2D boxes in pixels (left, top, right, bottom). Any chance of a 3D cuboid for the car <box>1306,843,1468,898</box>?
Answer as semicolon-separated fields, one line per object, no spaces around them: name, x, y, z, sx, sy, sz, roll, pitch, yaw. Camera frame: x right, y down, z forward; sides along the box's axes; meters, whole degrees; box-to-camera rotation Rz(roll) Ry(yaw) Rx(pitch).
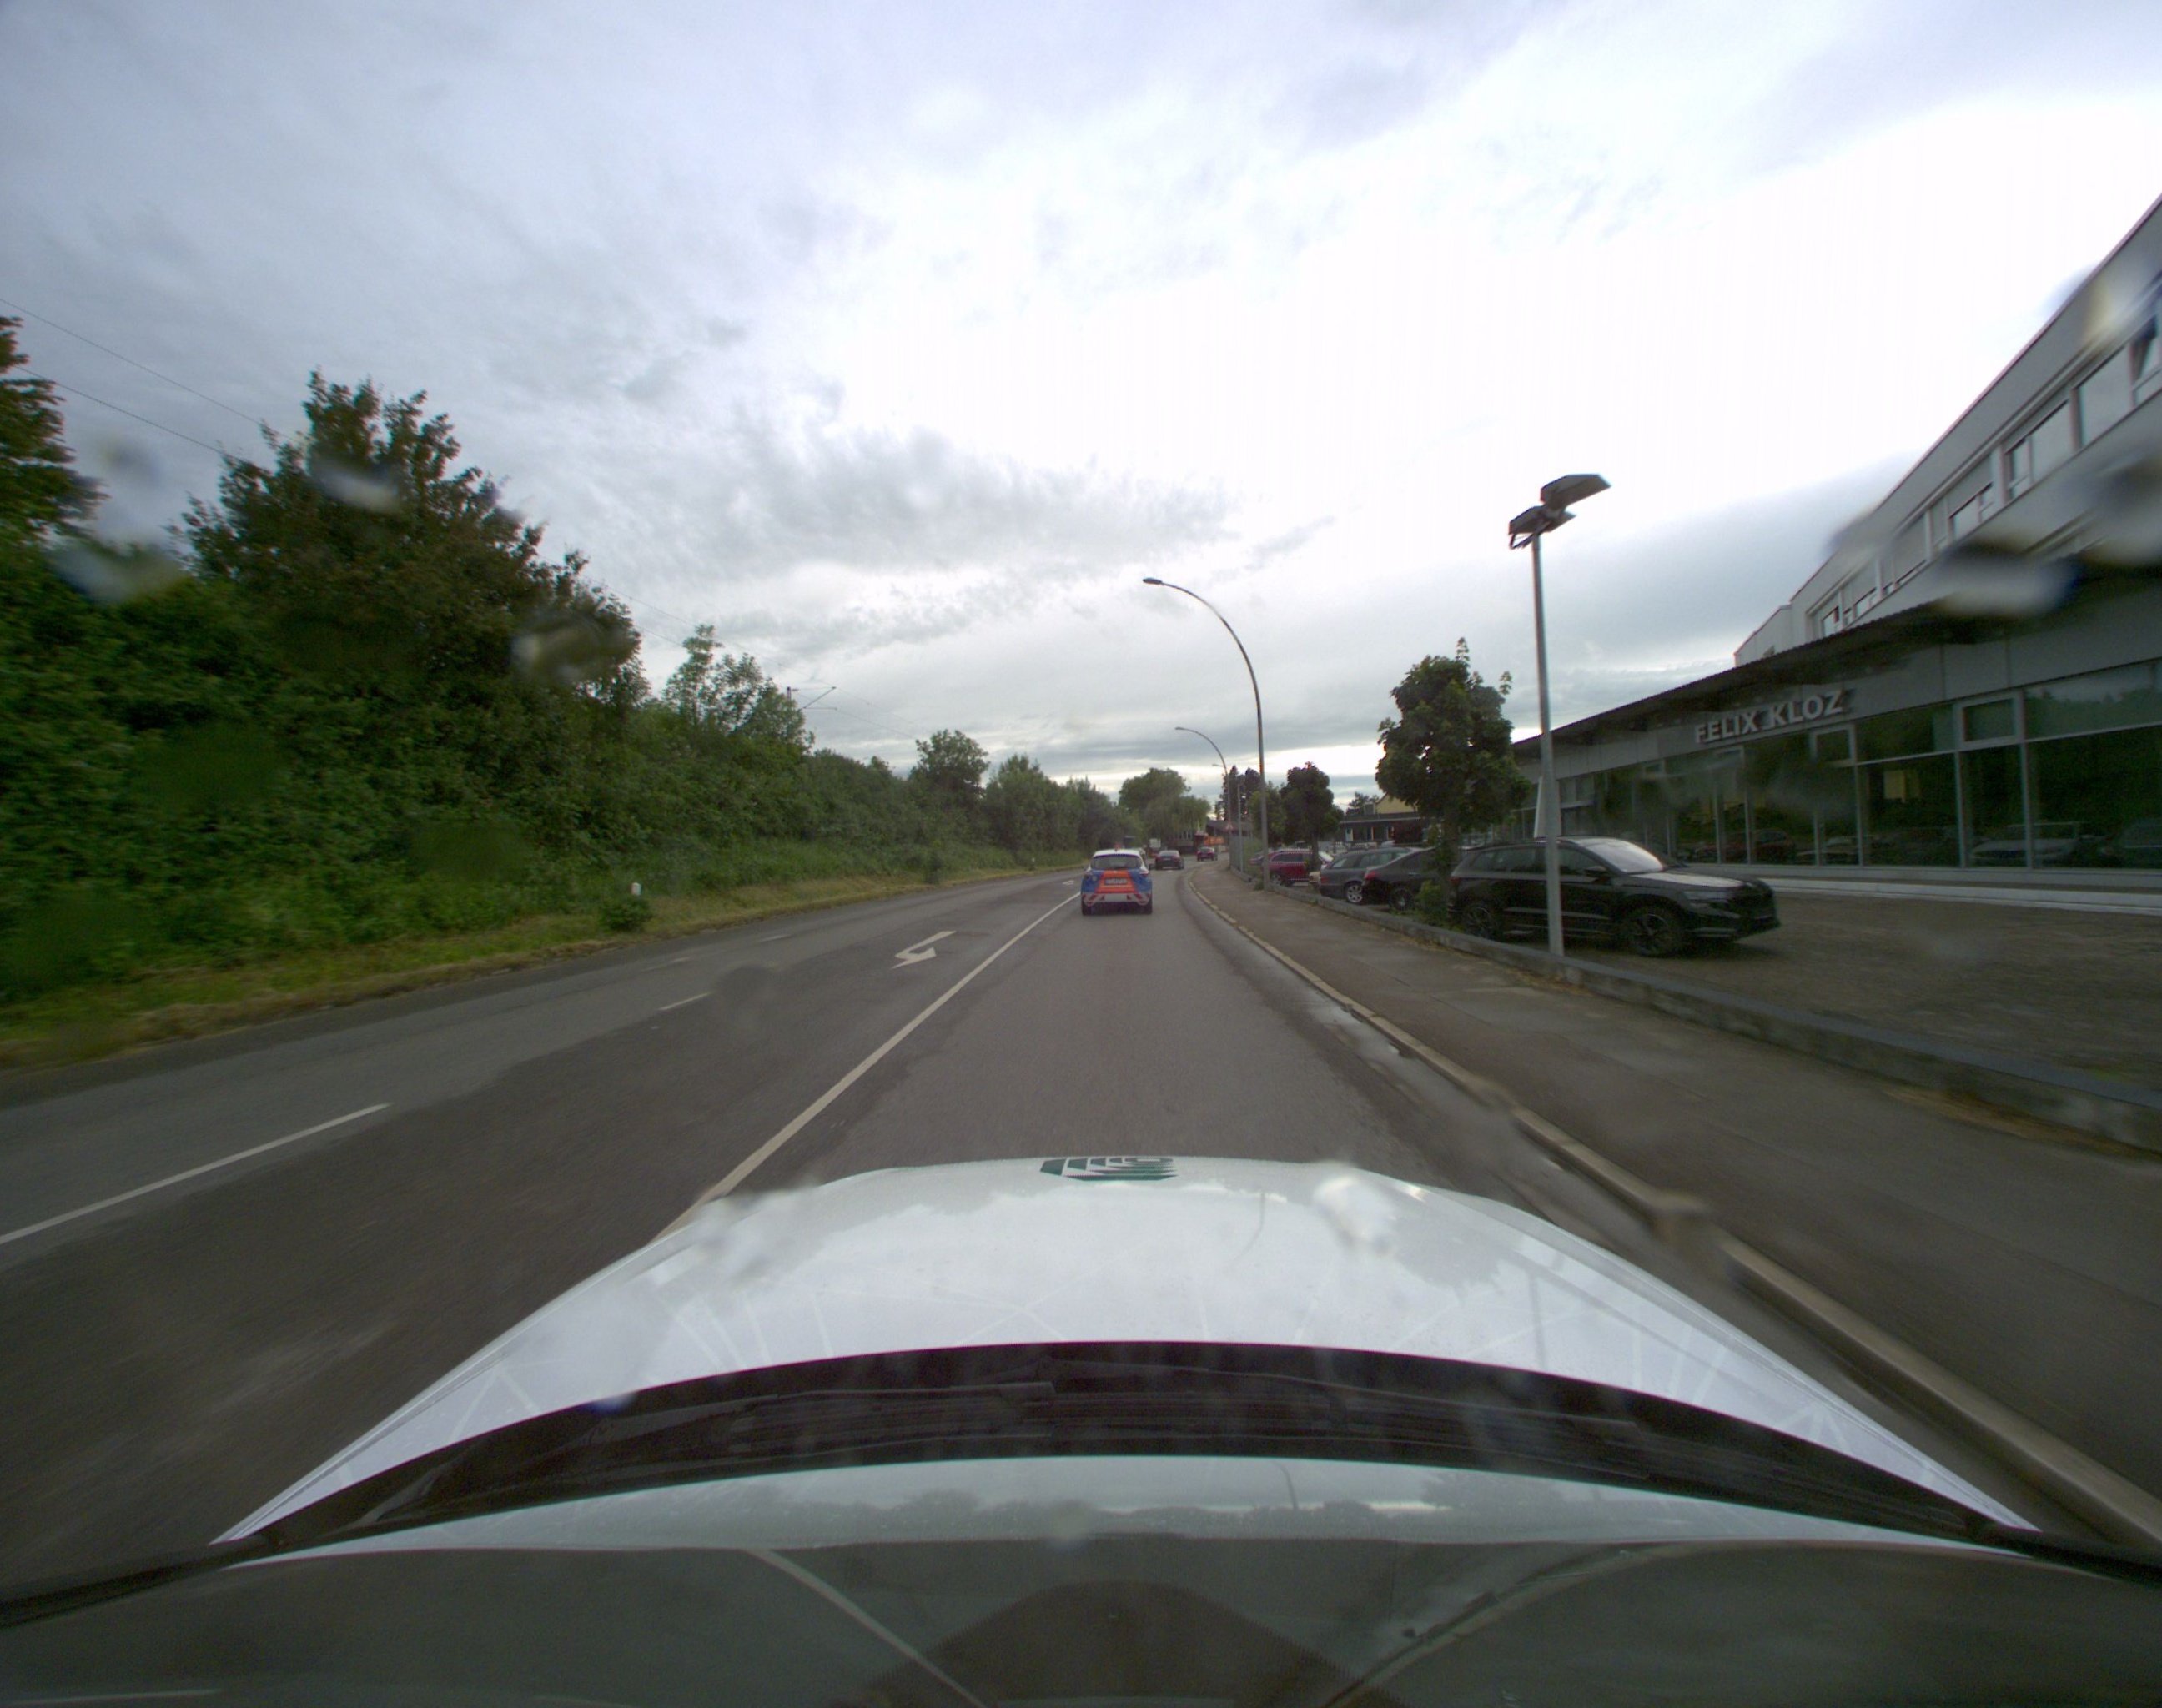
car;9.076;0.519;24.295;4.120;1.467;1.849;-3;-1;38

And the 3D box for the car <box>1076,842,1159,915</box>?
car;0.923;0.558;20.884;1.881;1.632;4.002;-2;0;2

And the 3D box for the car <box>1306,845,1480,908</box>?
car;8.326;0.560;21.873;3.949;1.556;1.910;0;-1;41

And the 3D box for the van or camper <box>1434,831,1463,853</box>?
van or camper;35.484;-1.103;78.602;1.974;1.938;5.464;0;-1;31

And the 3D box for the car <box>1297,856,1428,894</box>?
car;10.224;0.775;29.664;4.181;1.301;1.746;-2;-2;34

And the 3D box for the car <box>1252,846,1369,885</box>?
car;10.334;0.497;36.791;4.637;1.662;2.012;0;-1;34

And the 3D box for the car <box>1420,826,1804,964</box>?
car;7.581;0.492;12.215;1.845;1.608;4.511;-3;1;-26

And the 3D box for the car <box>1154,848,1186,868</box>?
car;6.396;0.328;58.273;1.708;1.376;3.948;1;-1;14

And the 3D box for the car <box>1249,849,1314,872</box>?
car;13.111;0.419;53.302;3.966;1.408;1.596;1;-1;6

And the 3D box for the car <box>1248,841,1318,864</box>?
car;12.505;-0.082;50.668;4.083;1.370;2.005;1;-1;9

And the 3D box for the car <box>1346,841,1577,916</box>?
car;8.474;0.510;18.296;4.385;1.479;1.947;-1;0;36

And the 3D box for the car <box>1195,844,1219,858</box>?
car;13.641;-0.321;88.067;1.978;1.420;4.017;1;-1;16

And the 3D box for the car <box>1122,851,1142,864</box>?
car;6.119;0.422;96.606;1.982;1.474;4.710;1;-1;8

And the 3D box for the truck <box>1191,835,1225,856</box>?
truck;22.546;-1.493;144.080;2.672;3.412;9.127;0;-1;31
